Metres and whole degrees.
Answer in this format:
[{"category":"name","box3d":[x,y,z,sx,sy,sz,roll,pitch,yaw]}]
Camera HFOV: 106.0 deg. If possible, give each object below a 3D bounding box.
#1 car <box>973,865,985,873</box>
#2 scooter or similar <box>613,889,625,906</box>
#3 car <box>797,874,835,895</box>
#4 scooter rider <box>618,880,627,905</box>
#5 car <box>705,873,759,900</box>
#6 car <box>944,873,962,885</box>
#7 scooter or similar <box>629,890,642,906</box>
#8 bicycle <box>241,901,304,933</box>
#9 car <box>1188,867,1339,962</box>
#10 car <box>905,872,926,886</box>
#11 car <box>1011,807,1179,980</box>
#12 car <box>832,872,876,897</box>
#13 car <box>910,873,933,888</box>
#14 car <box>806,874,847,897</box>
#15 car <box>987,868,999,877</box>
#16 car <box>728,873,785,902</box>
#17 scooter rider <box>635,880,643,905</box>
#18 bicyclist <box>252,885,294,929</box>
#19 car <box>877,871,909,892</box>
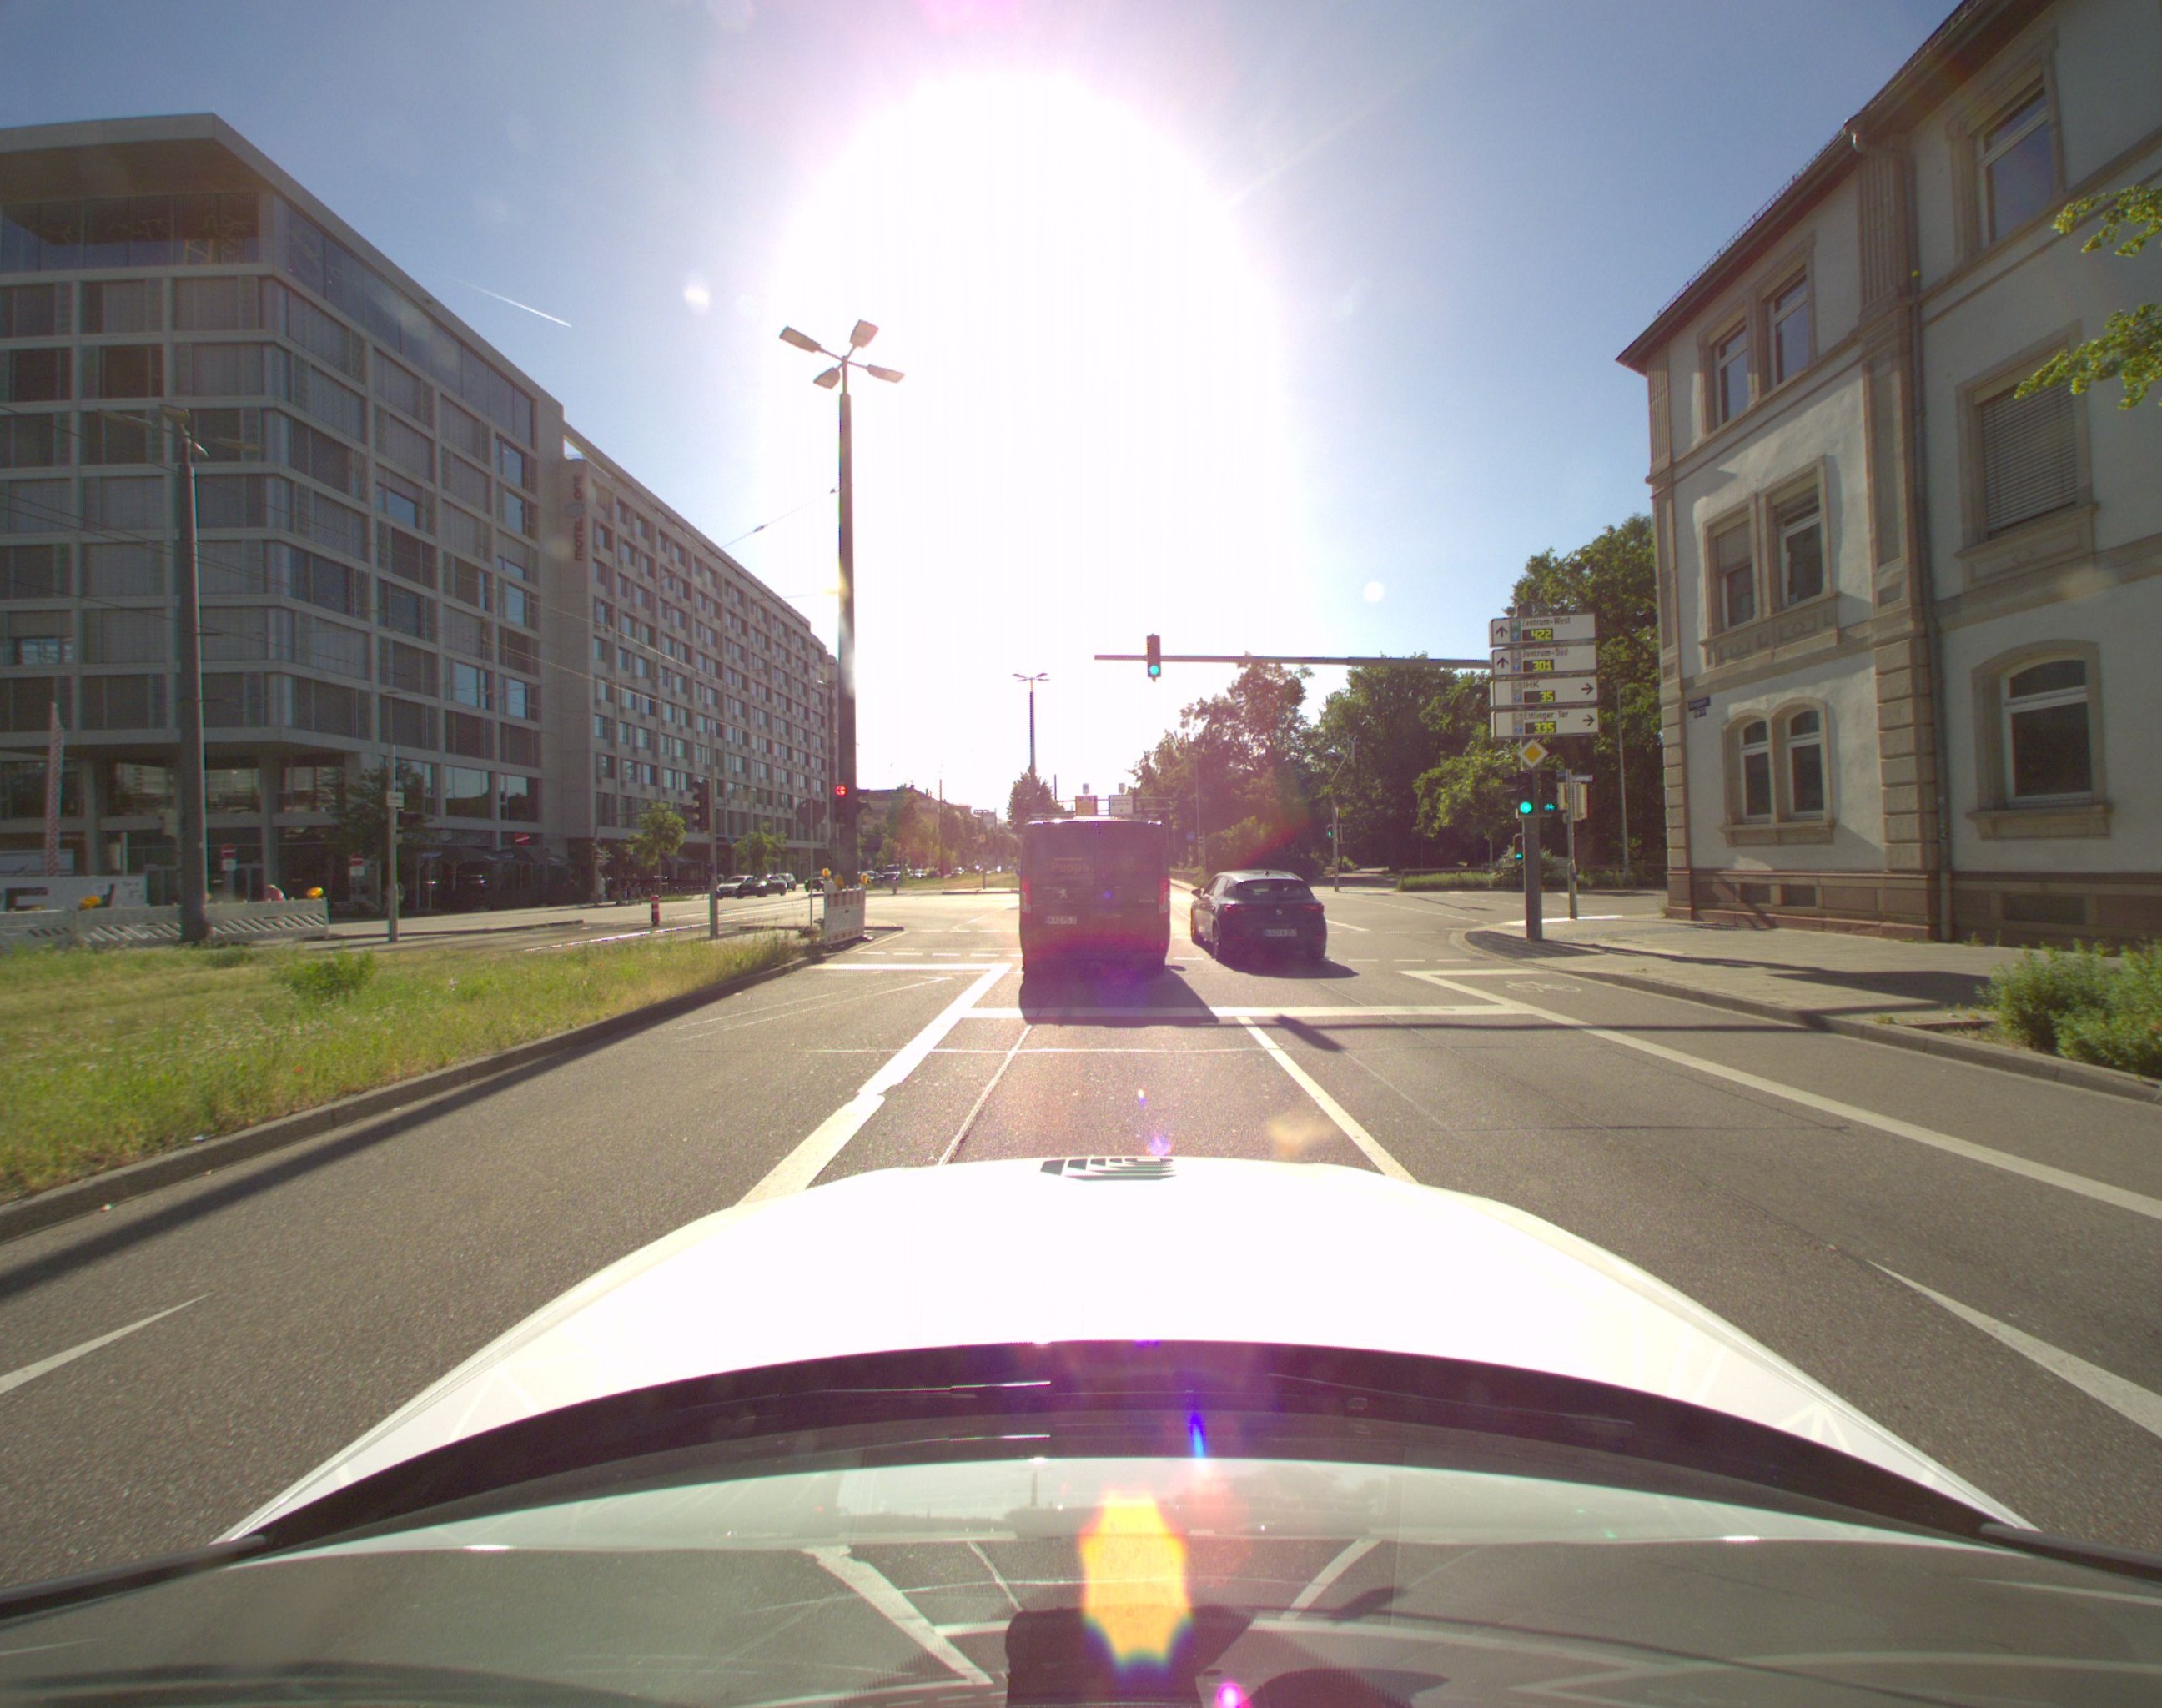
[{"category":"car","box3d":[-20.569,3.024,164.295,1.783,1.651,4.002,-1,-1,2]},{"category":"scooter or similar","box3d":[-26.517,2.474,46.767,0.227,0.947,0.768,-2,-1,2]},{"category":"car","box3d":[-22.658,2.564,69.764,1.783,1.651,4.002,-2,-1,2]},{"category":"scooter rider","box3d":[-26.356,2.201,46.828,0.341,1.453,0.239,-2,-1,2]},{"category":"car","box3d":[-23.338,2.168,54.617,1.783,1.651,4.002,-2,-1,2]},{"category":"car","box3d":[-18.210,3.524,116.010,1.783,1.651,4.002,-2,-1,2]},{"category":"scooter or similar","box3d":[-26.826,2.642,49.029,0.284,0.947,0.769,-2,-1,8]},{"category":"bicycle","box3d":[-29.841,2.319,30.097,0.584,1.100,1.625,0,-1,6]},{"category":"car","box3d":[3.012,0.951,14.258,1.786,1.428,3.849,0,-1,0]},{"category":"car","box3d":[-21.757,3.305,107.214,1.783,1.651,4.002,-2,-1,2]},{"category":"car","box3d":[0.205,0.524,12.919,2.210,2.267,4.484,0,0,0]},{"category":"car","box3d":[-16.551,2.184,59.565,1.783,1.651,4.337,-2,-1,2]},{"category":"car","box3d":[-19.156,3.126,98.027,1.783,1.651,4.002,-2,-1,2]},{"category":"car","box3d":[-20.084,2.483,64.419,1.783,1.651,4.002,-2,-1,2]},{"category":"car","box3d":[-17.736,3.753,164.679,1.783,1.651,4.002,-2,-1,2]},{"category":"car","box3d":[-20.354,2.075,51.281,1.783,1.651,4.002,-2,-1,2]},{"category":"scooter rider","box3d":[-26.656,2.311,49.104,0.341,1.453,0.239,-2,-1,2]},{"category":"bicyclist","box3d":[-29.836,1.945,30.085,0.590,1.581,0.894,0,-1,5]},{"category":"car","box3d":[-16.591,2.401,72.041,1.783,1.651,4.002,-2,-1,2]}]
